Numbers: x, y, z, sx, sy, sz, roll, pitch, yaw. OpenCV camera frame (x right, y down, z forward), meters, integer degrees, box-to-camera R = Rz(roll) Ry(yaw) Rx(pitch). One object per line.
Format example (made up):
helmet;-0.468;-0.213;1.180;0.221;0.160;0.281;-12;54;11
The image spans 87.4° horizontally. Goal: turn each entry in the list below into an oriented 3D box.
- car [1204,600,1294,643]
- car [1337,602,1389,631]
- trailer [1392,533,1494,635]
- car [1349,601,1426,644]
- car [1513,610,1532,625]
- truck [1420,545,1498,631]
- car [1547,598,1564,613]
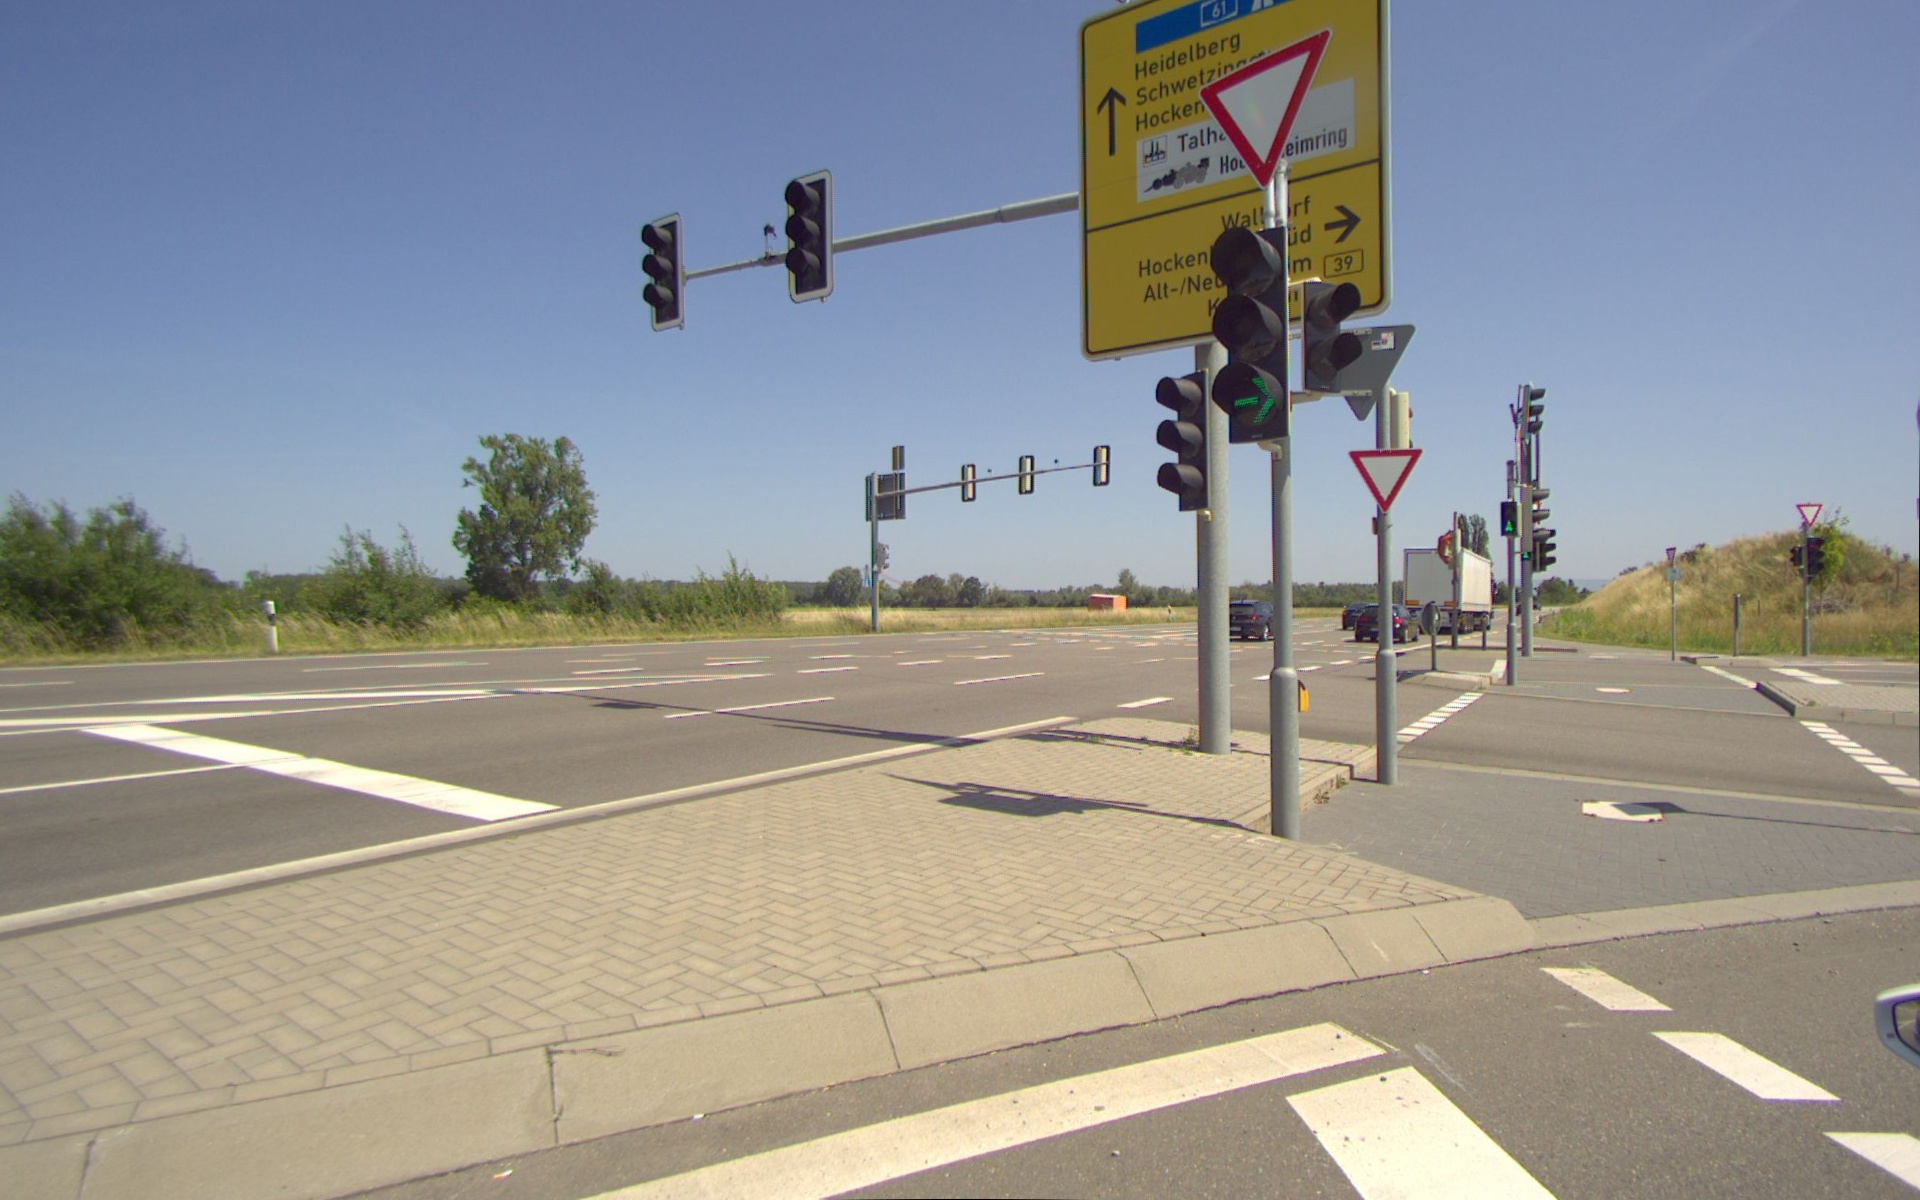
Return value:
car;10.621;0.766;36.680;1.863;1.466;4.513;1;0;34
car;21.344;0.860;53.120;1.652;1.430;4.454;1;0;34
trailer;25.094;-0.692;51.731;3.333;4.603;12.841;2;0;32
car;15.982;0.799;37.476;1.760;1.450;4.366;2;1;35
car;72.427;2.246;129.252;1.952;1.919;4.457;1;0;31
truck;28.670;-0.664;57.585;3.333;4.603;6.357;2;0;32
car;82.530;0.769;139.217;1.952;1.894;4.457;1;0;31
